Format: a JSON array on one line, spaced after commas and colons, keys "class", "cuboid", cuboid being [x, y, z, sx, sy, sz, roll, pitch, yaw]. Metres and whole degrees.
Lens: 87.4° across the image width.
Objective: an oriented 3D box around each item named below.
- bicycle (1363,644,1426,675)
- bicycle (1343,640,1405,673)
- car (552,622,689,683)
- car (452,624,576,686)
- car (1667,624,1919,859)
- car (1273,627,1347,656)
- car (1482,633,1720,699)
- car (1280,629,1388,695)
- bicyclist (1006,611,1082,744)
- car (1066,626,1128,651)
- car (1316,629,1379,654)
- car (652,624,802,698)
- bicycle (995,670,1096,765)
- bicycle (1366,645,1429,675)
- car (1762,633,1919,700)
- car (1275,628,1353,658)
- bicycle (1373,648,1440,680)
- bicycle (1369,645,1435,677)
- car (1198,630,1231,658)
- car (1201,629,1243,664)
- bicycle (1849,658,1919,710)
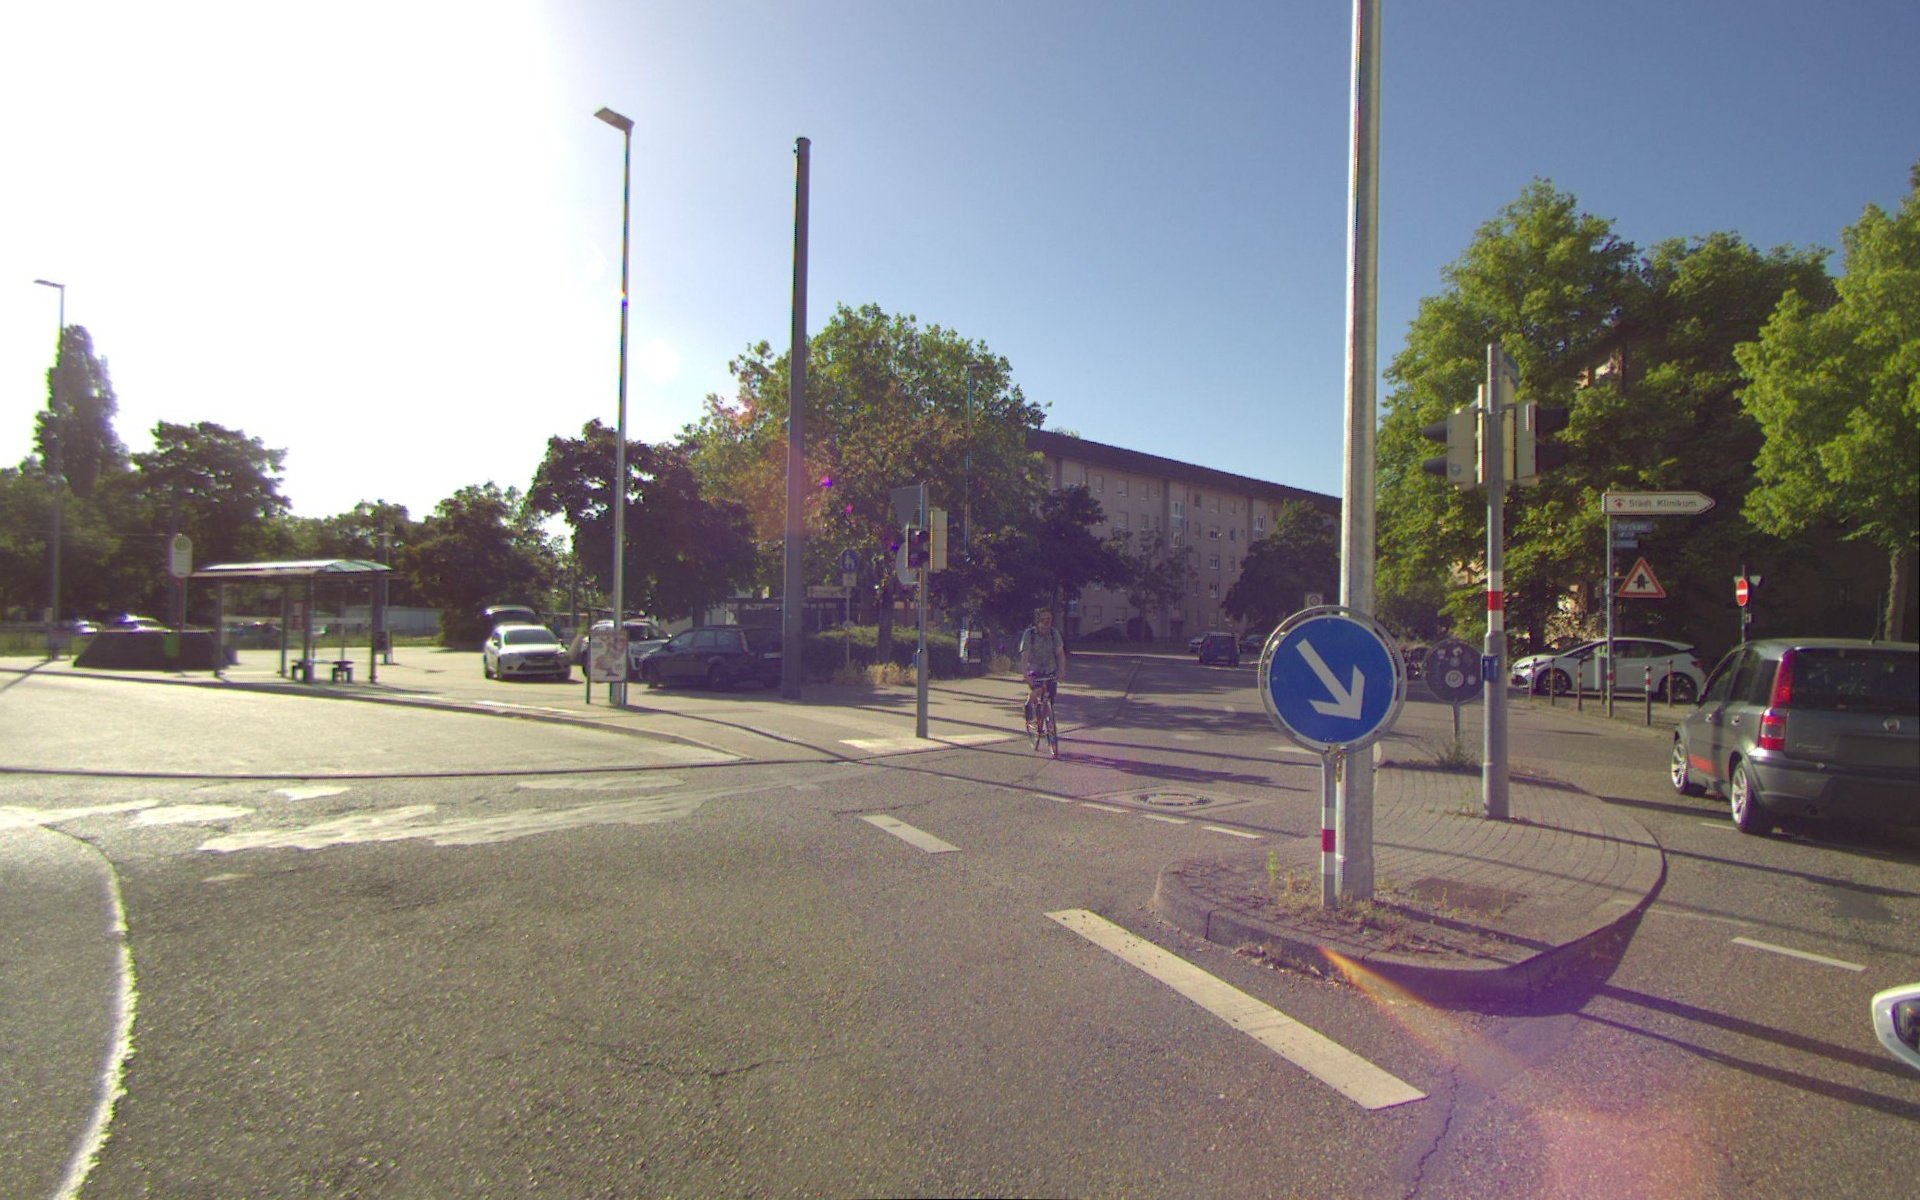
[{"class": "bicycle", "cuboid": [15.363, 2.101, 35.547, 1.993, 1.044, 0.448, 0, -2, 3]}, {"class": "bicycle", "cuboid": [15.421, 2.090, 37.437, 1.993, 1.192, 0.668, 0, -2, 3]}, {"class": "car", "cuboid": [-9.728, 1.446, 28.664, 3.937, 1.600, 1.793, -1, -2, 37]}, {"class": "car", "cuboid": [-12.245, 1.461, 27.510, 3.541, 1.528, 1.676, 0, -2, 40]}, {"class": "car", "cuboid": [7.146, 1.014, 8.337, 1.591, 1.582, 3.254, 0, -2, 26]}, {"class": "car", "cuboid": [19.236, 2.270, 55.209, 3.531, 1.501, 1.617, 1, -1, -14]}, {"class": "car", "cuboid": [16.644, 1.670, 26.402, 4.936, 1.538, 1.924, 0, -1, 18]}, {"class": "car", "cuboid": [9.552, 1.535, 25.950, 1.650, 1.528, 3.760, 1, -1, 4]}, {"class": "bicyclist", "cuboid": [1.028, 0.941, 12.373, 0.813, 1.584, 0.595, 1, -2, -9]}, {"class": "car", "cuboid": [10.386, 2.914, 76.407, 2.054, 1.821, 4.370, 2, -2, -43]}, {"class": "car", "cuboid": [23.802, 2.547, 61.844, 3.521, 1.501, 1.622, 0, -2, 17]}, {"class": "car", "cuboid": [-5.542, 1.383, 23.731, 3.541, 1.528, 1.676, 0, 0, 40]}, {"class": "bicycle", "cuboid": [1.009, 1.401, 12.403, 0.814, 0.999, 1.944, 1, -2, -8]}, {"class": "bicycle", "cuboid": [15.256, 2.083, 35.057, 1.993, 1.044, 0.469, 0, -2, 3]}, {"class": "car", "cuboid": [22.776, 1.624, 24.835, 4.213, 1.538, 1.910, 0, -1, 12]}, {"class": "car", "cuboid": [18.443, 2.220, 52.310, 3.531, 1.501, 1.617, 1, -1, -14]}, {"class": "bicycle", "cuboid": [15.022, 2.156, 33.795, 1.993, 1.044, 0.571, 0, -2, 3]}, {"class": "bicycle", "cuboid": [15.181, 2.087, 34.497, 1.993, 1.044, 0.571, 0, -2, 3]}, {"class": "car", "cuboid": [14.395, 2.454, 56.690, 1.650, 1.528, 3.598, 0, -1, 17]}, {"class": "car", "cuboid": [12.368, 2.173, 47.541, 1.650, 1.528, 3.599, 1, -1, 11]}, {"class": "bicycle", "cuboid": [19.934, 1.792, 21.457, 1.561, 1.086, 0.354, 1, -1, 0]}]
